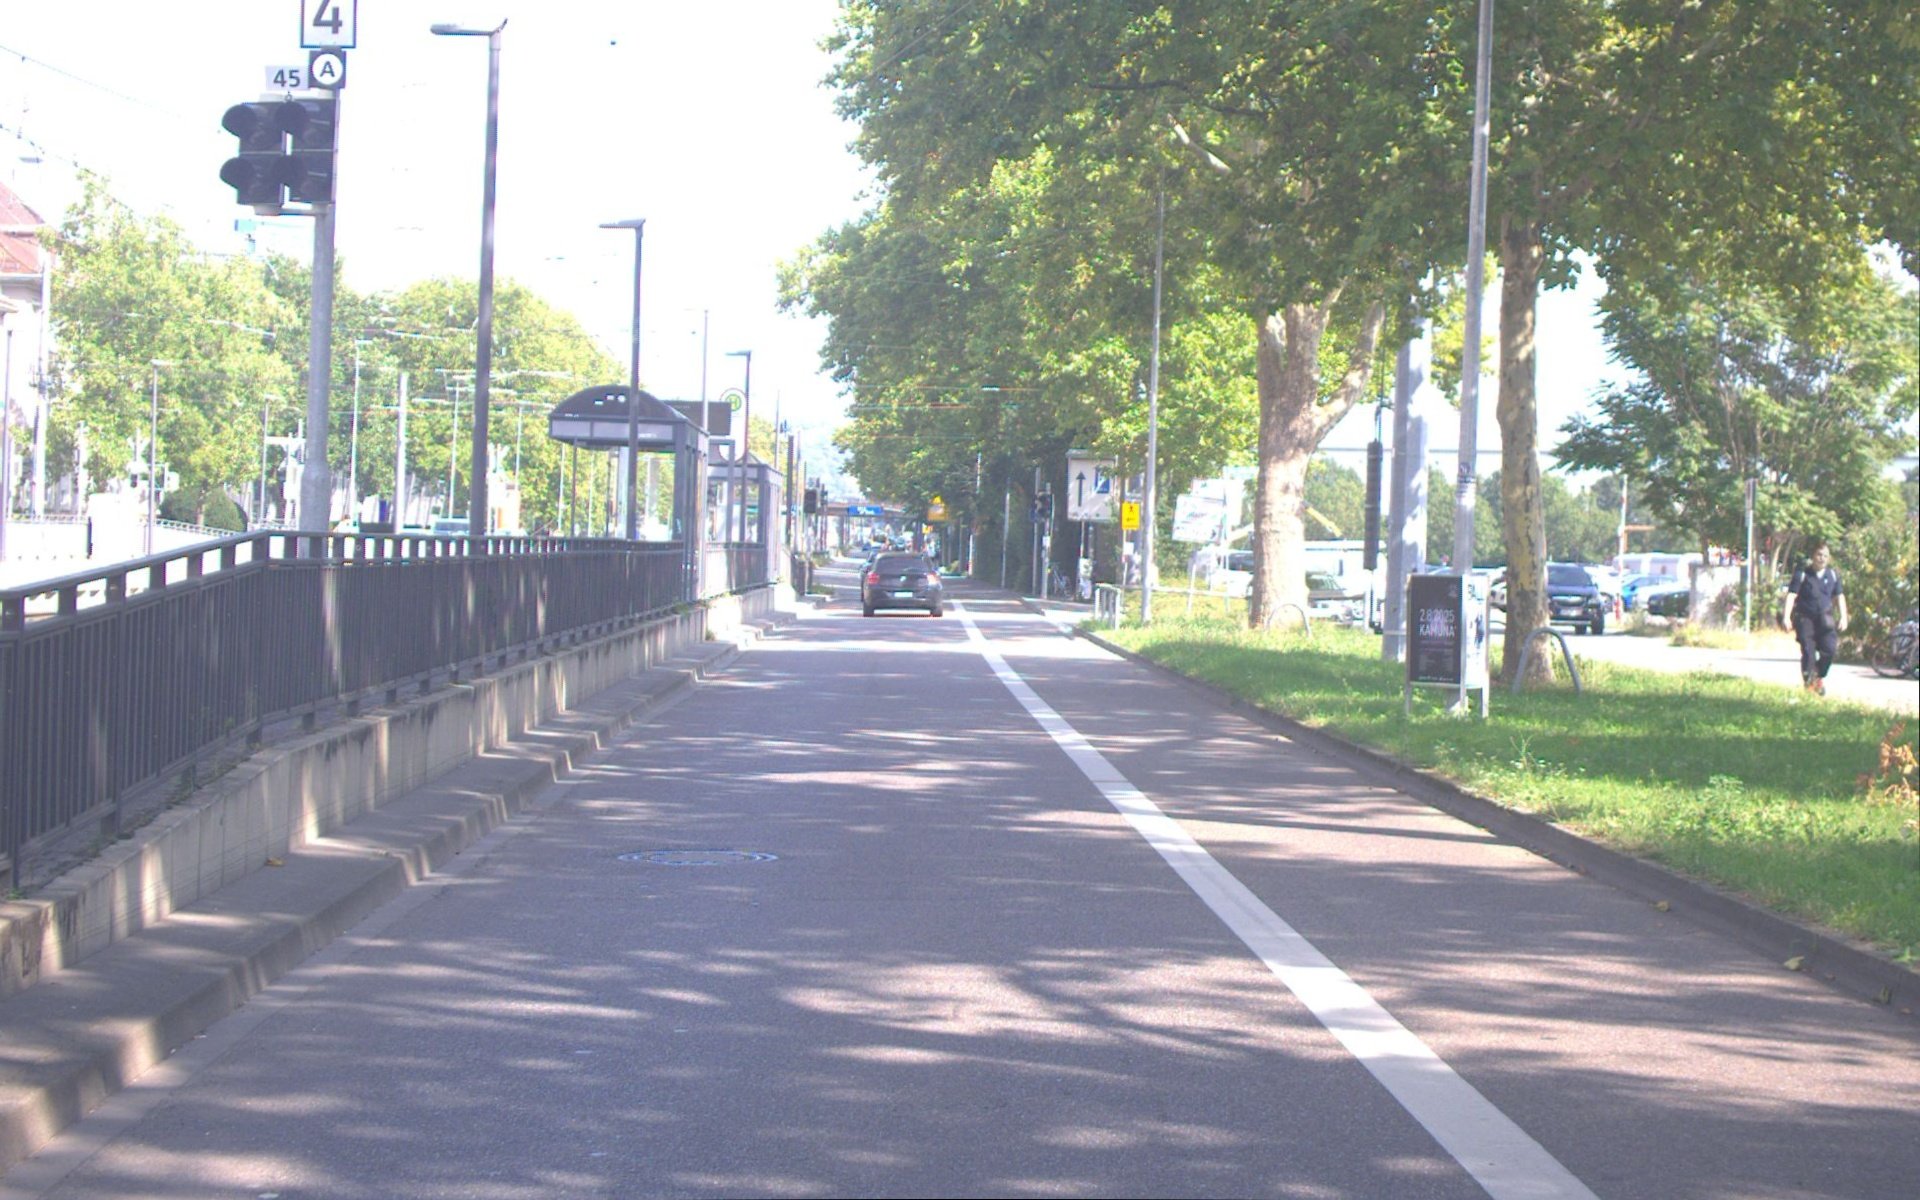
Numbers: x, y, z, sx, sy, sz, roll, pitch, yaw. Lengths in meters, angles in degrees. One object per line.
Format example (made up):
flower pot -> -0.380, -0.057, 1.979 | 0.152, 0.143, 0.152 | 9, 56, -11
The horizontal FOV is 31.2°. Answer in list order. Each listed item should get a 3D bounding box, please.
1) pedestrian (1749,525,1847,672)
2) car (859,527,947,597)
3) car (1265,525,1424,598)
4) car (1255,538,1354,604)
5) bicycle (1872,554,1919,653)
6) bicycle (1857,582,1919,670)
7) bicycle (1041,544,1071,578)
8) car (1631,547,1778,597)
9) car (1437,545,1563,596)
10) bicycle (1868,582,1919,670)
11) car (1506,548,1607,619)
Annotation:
pedestrian -> 8.878, -0.023, 36.430 | 0.783, 1.510, 0.787 | 2, 1, -1
car -> -1.319, -0.883, 77.478 | 1.907, 1.532, 4.001 | 0, 1, -2
car -> 10.344, -1.054, 92.664 | 4.103, 1.912, 1.848 | 0, 1, 2
car -> 7.888, -0.689, 79.072 | 1.728, 1.443, 4.551 | 1, 1, -1
bicycle -> 13.127, 0.046, 44.740 | 2.244, 1.272, 0.999 | 0, 0, -2
bicycle -> 12.469, 0.317, 43.246 | 2.173, 1.073, 0.743 | 0, 1, 3
bicycle -> 3.014, -1.232, 108.042 | 0.610, 1.018, 2.403 | 1, 1, -5
car -> 24.767, -0.928, 114.442 | 4.343, 1.459, 1.948 | 3, 1, -3
car -> 20.422, -1.116, 130.045 | 4.343, 1.707, 1.948 | 3, 1, -3
bicycle -> 12.395, 0.315, 42.437 | 2.173, 1.073, 0.743 | 0, 1, 3
car -> 13.957, -0.404, 80.578 | 1.607, 1.570, 3.797 | 1, 1, -1
